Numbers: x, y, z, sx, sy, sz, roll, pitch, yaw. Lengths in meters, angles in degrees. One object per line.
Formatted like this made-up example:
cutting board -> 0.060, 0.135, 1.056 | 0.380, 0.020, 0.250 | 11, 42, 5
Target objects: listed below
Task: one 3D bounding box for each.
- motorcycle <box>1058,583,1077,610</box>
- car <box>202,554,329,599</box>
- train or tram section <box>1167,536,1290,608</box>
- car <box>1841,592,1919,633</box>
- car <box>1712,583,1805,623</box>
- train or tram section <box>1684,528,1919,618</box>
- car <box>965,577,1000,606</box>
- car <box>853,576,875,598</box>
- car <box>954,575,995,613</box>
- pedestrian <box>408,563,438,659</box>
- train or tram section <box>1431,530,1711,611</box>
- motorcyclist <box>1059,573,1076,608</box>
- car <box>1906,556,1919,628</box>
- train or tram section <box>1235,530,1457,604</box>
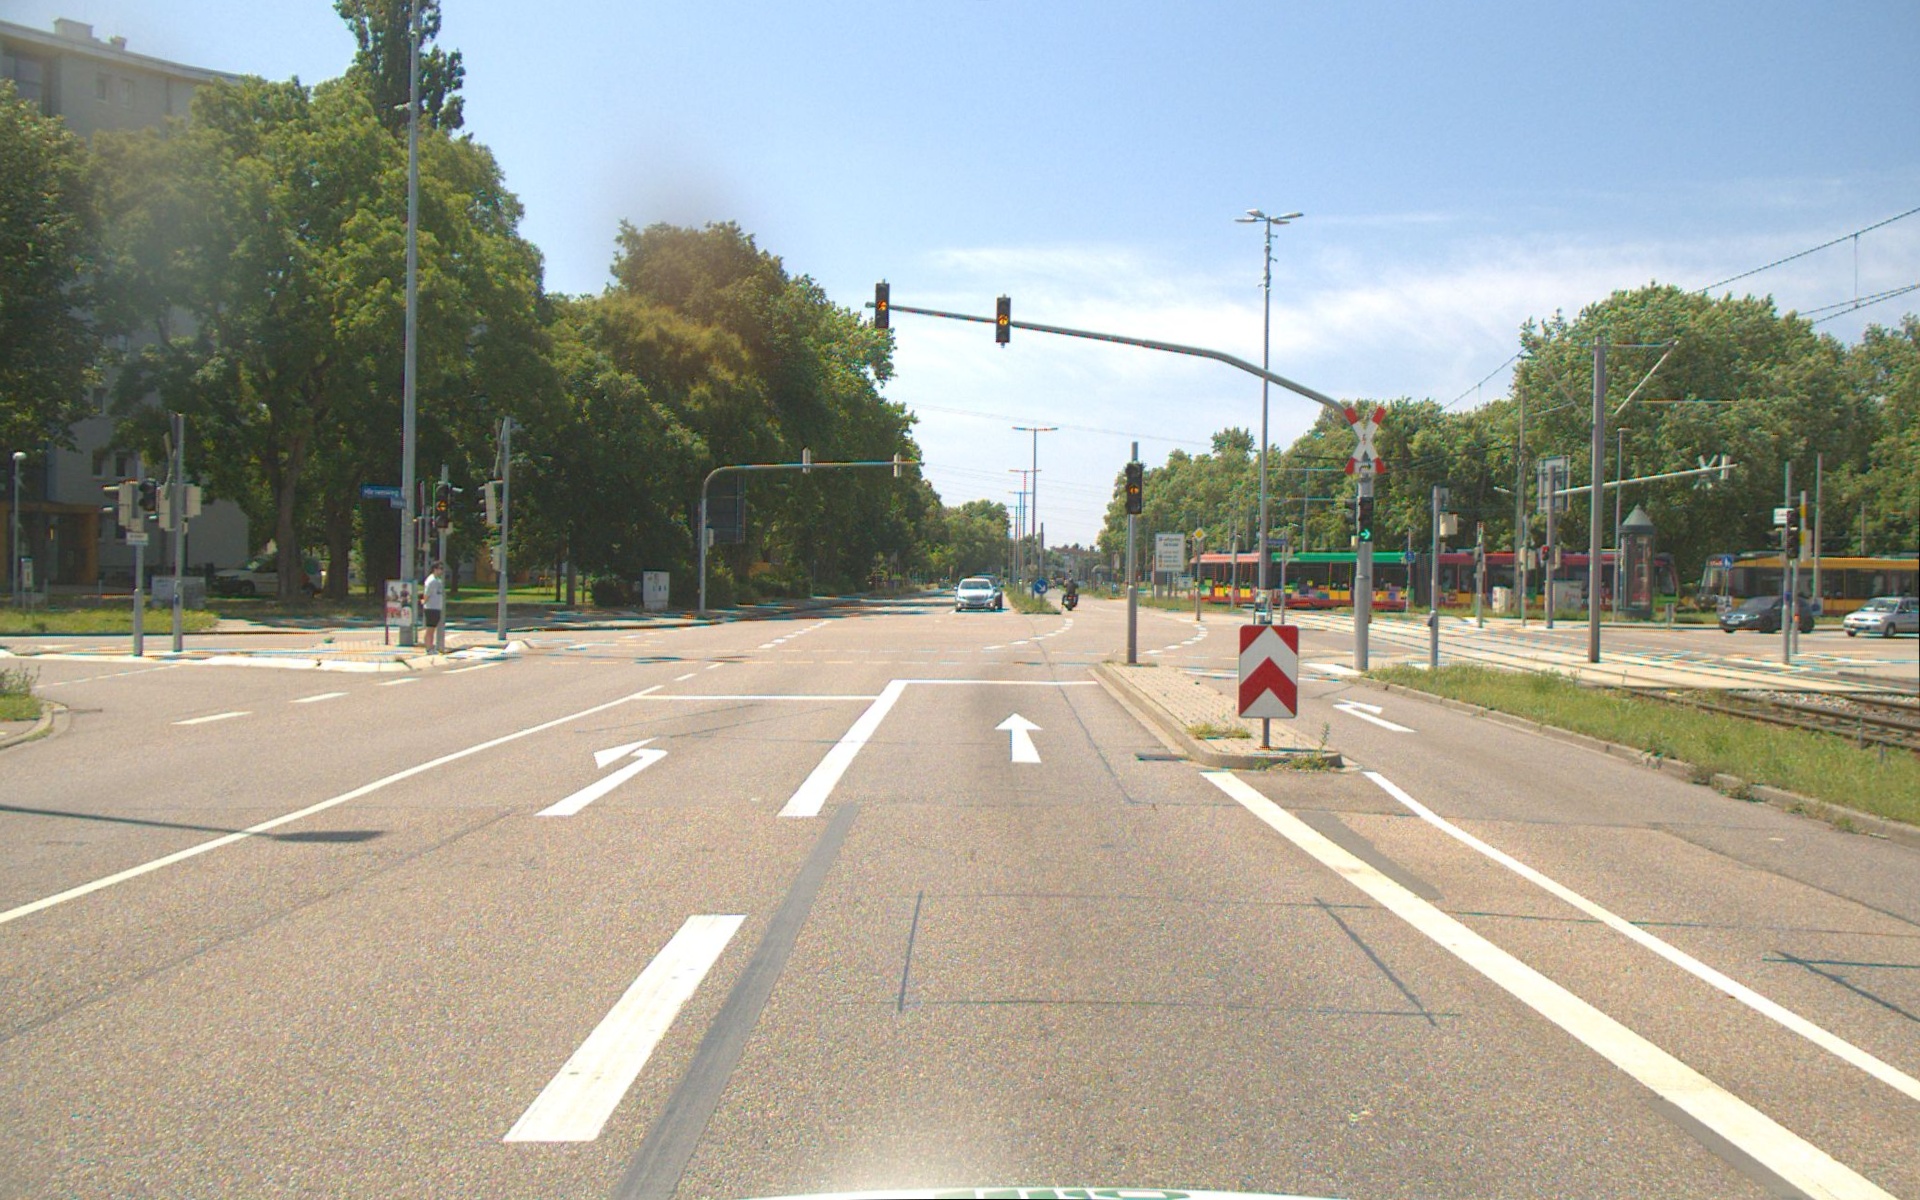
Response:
motorcycle -> 5.191, -0.183, 80.242 | 0.829, 1.277, 2.450 | 2, 1, 2
car -> -28.464, -0.943, 67.873 | 1.760, 1.799, 4.522 | 1, 1, 41
train or tram section -> 16.936, -1.640, 105.568 | 2.864, 3.878, 13.026 | 2, -2, -13
car -> 35.089, 0.471, 62.487 | 3.759, 1.488, 1.621 | 0, 1, -34
car -> 31.000, 0.104, 64.180 | 3.460, 1.488, 1.624 | 0, 1, -30
train or tram section -> 45.173, -1.353, 86.871 | 13.661, 3.988, 2.917 | 2, -2, -9
car -> 1.145, -0.432, 82.229 | 1.675, 1.389, 3.866 | 1, 1, 2
car -> -9.575, -1.316, 165.807 | 1.953, 2.048, 3.999 | 4, 0, -1
car -> 0.669, -0.289, 74.748 | 1.747, 1.657, 3.866 | 1, 1, 2
pedestrian -> -9.726, 0.188, 29.975 | 0.374, 1.716, 0.486 | 1, 1, -2
train or tram section -> 32.422, -1.600, 88.269 | 13.711, 3.988, 2.923 | 1, -2, 22
motorcyclist -> 5.188, -0.452, 80.122 | 0.773, 1.671, 1.212 | 2, 1, 4
car -> 41.393, -0.273, 66.429 | 7.184, 2.851, 2.690 | 0, 1, -30
train or tram section -> 22.046, -1.776, 95.605 | 2.898, 3.878, 13.252 | 4, -3, -41
